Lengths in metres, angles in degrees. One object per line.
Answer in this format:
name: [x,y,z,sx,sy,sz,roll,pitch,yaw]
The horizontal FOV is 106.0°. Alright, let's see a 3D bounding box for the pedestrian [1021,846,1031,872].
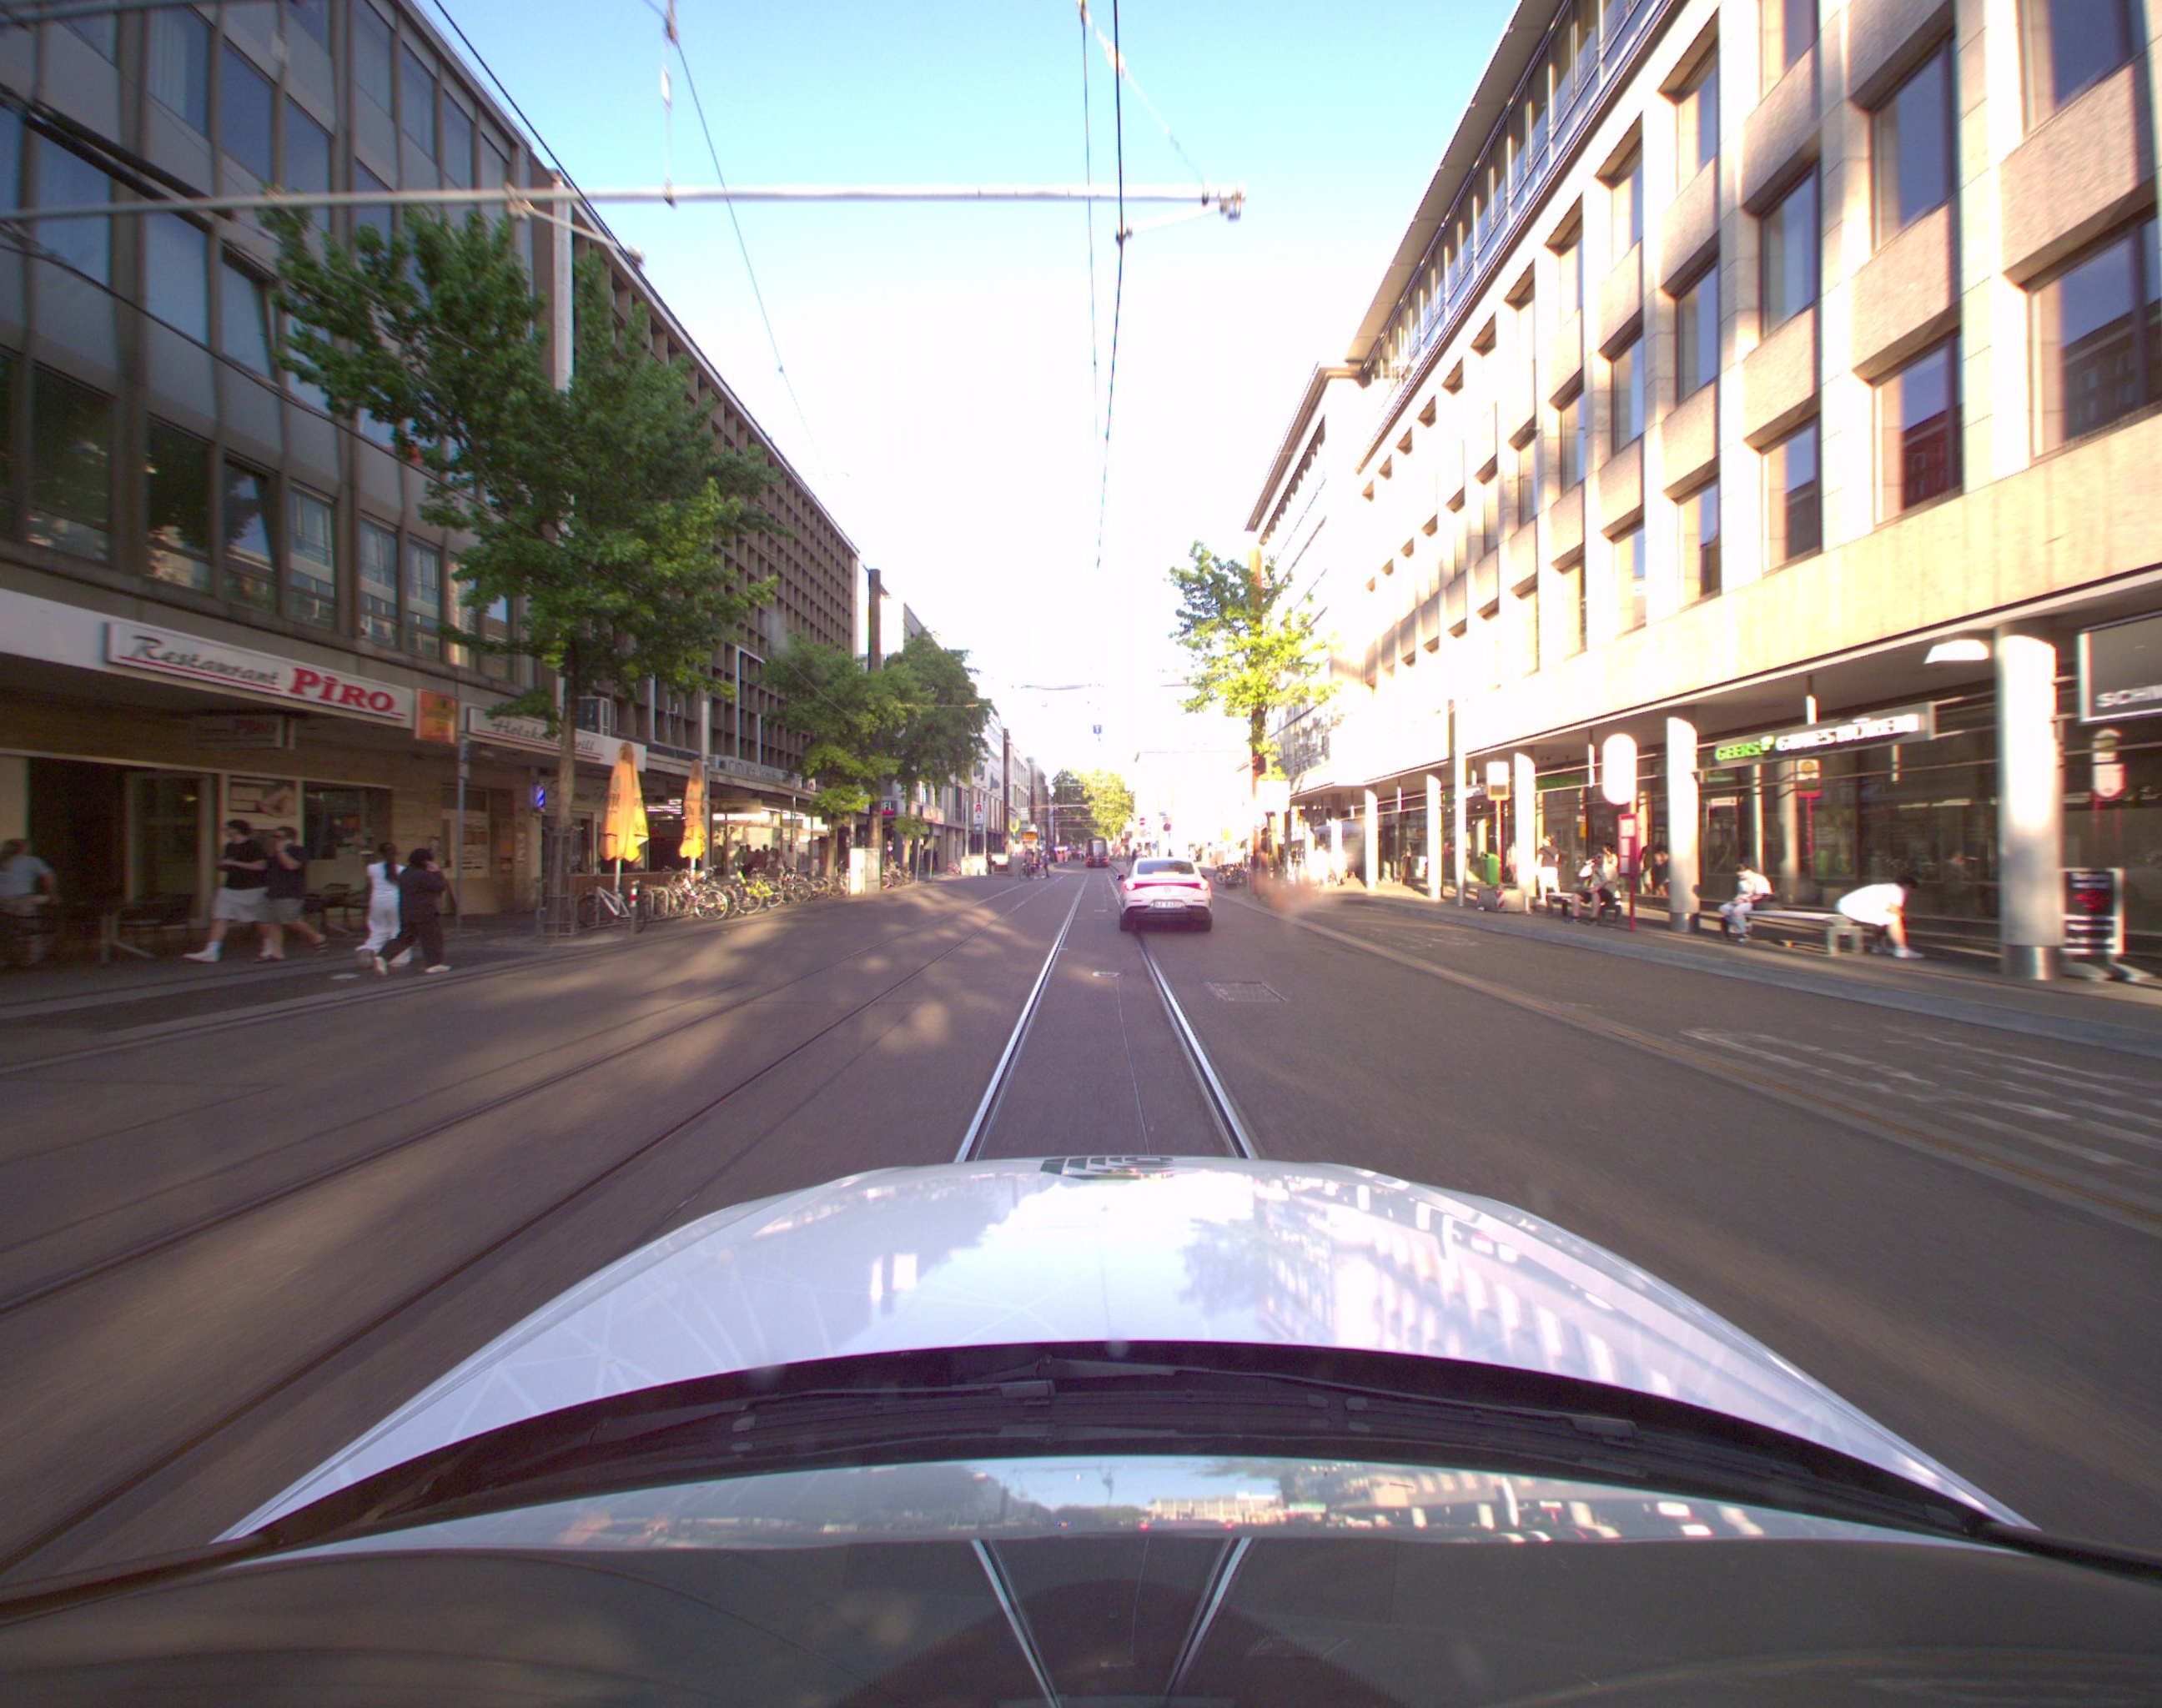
pedestrian: [-4.178,0.358,61.975,0.534,1.929,0.576,-1,0,45]

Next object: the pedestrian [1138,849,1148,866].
pedestrian: [7.025,0.388,92.337,0.957,1.785,0.804,-2,0,0]

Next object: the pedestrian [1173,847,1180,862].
pedestrian: [11.147,0.080,95.260,0.724,1.785,0.707,0,0,0]

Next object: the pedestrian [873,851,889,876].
pedestrian: [-13.673,0.641,55.749,0.819,1.706,0.980,-1,0,-1]

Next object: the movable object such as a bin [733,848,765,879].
movable object such as a bin: [-11.444,0.330,28.096,0.713,1.039,0.980,-1,0,-5]

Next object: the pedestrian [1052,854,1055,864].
pedestrian: [-4.503,0.774,132.052,0.412,1.630,0.606,-1,0,1]

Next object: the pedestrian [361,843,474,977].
pedestrian: [-8.065,0.655,9.939,0.620,1.550,0.852,2,0,1]

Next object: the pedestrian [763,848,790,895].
pedestrian: [-10.784,0.622,28.849,0.713,1.639,0.683,-1,0,-5]

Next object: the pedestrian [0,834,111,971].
pedestrian: [-12.203,0.537,9.553,0.620,1.526,0.810,2,0,1]

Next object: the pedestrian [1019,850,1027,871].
pedestrian: [-4.465,0.485,62.644,0.531,1.613,0.540,-1,0,-5]

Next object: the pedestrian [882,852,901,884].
pedestrian: [-9.724,0.693,41.854,0.747,1.623,0.980,-1,0,-2]

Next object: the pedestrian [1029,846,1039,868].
pedestrian: [-3.714,0.243,64.465,0.544,1.760,0.524,-1,0,29]

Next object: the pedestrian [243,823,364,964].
pedestrian: [-10.194,0.493,10.715,0.620,1.747,0.934,2,0,2]

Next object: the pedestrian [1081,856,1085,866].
pedestrian: [0.275,1.127,137.966,0.602,1.630,0.531,-1,0,1]

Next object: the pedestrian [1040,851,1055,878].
pedestrian: [-2.207,0.673,53.126,0.901,1.698,0.849,-1,0,1]

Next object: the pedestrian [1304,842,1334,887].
pedestrian: [9.516,0.413,32.617,0.897,1.744,0.689,-4,0,0]

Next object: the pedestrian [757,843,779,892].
pedestrian: [-11.577,0.494,30.091,0.717,1.766,0.679,-1,0,-23]

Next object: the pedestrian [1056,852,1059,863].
pedestrian: [-3.580,0.522,122.920,0.412,1.630,0.606,-1,0,1]

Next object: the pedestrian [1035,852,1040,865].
pedestrian: [-5.443,0.616,101.650,0.658,1.599,0.573,-1,0,0]

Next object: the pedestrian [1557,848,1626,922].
pedestrian: [9.758,0.575,15.578,0.836,1.377,0.772,0,0,-22]

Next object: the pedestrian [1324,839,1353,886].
pedestrian: [10.203,0.333,32.287,0.699,1.812,1.033,-4,0,1]

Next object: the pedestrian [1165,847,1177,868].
pedestrian: [7.251,0.271,65.616,0.834,1.662,0.786,-1,0,3]

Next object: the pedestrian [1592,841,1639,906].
pedestrian: [12.919,0.457,19.699,0.640,1.541,0.796,0,0,1]

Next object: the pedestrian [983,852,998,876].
pedestrian: [-6.464,0.689,58.089,0.841,1.717,0.779,-1,0,-23]

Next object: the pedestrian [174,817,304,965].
pedestrian: [-10.785,0.450,10.469,0.620,1.804,0.934,2,0,2]

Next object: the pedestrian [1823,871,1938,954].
pedestrian: [10.438,0.744,10.658,0.832,1.031,0.697,0,0,6]

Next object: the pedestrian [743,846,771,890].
pedestrian: [-11.499,0.495,28.929,0.713,1.547,0.683,-1,0,-5]

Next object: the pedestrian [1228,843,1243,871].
pedestrian: [10.417,0.200,54.997,0.838,1.785,0.804,-2,0,0]

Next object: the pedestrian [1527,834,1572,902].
pedestrian: [12.169,0.361,21.173,0.713,1.741,0.835,0,0,1]

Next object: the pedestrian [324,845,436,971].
pedestrian: [-8.812,0.650,10.270,0.620,1.509,0.833,2,0,1]

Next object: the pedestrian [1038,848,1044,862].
pedestrian: [-4.517,0.149,92.428,0.658,1.599,0.573,-1,0,0]

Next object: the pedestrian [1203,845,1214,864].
pedestrian: [11.247,0.055,71.965,0.815,1.685,0.804,-2,0,0]

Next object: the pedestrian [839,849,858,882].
pedestrian: [-12.549,0.621,43.997,0.813,1.761,0.779,-1,0,-1]

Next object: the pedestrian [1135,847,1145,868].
pedestrian: [4.758,0.276,65.818,0.744,1.698,0.840,-1,0,-2]

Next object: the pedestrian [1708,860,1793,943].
pedestrian: [10.017,0.689,12.213,0.663,1.198,0.786,0,0,6]

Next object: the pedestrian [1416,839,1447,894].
pedestrian: [10.842,0.382,25.196,0.634,1.653,0.781,0,0,2]

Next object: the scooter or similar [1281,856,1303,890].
scooter or similar: [8.004,0.714,30.952,0.527,1.277,0.658,-2,0,-10]

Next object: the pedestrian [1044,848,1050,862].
pedestrian: [-3.817,0.146,92.498,0.658,1.599,0.573,-1,0,0]

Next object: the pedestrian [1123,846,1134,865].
pedestrian: [4.586,0.181,79.080,0.957,1.785,0.804,-2,0,0]

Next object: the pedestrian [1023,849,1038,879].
pedestrian: [-3.041,0.591,48.870,0.797,1.782,0.849,1,0,0]

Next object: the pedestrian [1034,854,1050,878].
pedestrian: [-2.487,0.769,52.272,0.952,1.496,0.944,-1,0,1]

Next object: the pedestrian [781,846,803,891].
pedestrian: [-11.699,0.575,32.933,0.789,1.766,0.533,-1,0,-24]

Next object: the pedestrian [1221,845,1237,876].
pedestrian: [8.747,0.398,48.193,0.746,1.785,0.767,-2,0,0]
